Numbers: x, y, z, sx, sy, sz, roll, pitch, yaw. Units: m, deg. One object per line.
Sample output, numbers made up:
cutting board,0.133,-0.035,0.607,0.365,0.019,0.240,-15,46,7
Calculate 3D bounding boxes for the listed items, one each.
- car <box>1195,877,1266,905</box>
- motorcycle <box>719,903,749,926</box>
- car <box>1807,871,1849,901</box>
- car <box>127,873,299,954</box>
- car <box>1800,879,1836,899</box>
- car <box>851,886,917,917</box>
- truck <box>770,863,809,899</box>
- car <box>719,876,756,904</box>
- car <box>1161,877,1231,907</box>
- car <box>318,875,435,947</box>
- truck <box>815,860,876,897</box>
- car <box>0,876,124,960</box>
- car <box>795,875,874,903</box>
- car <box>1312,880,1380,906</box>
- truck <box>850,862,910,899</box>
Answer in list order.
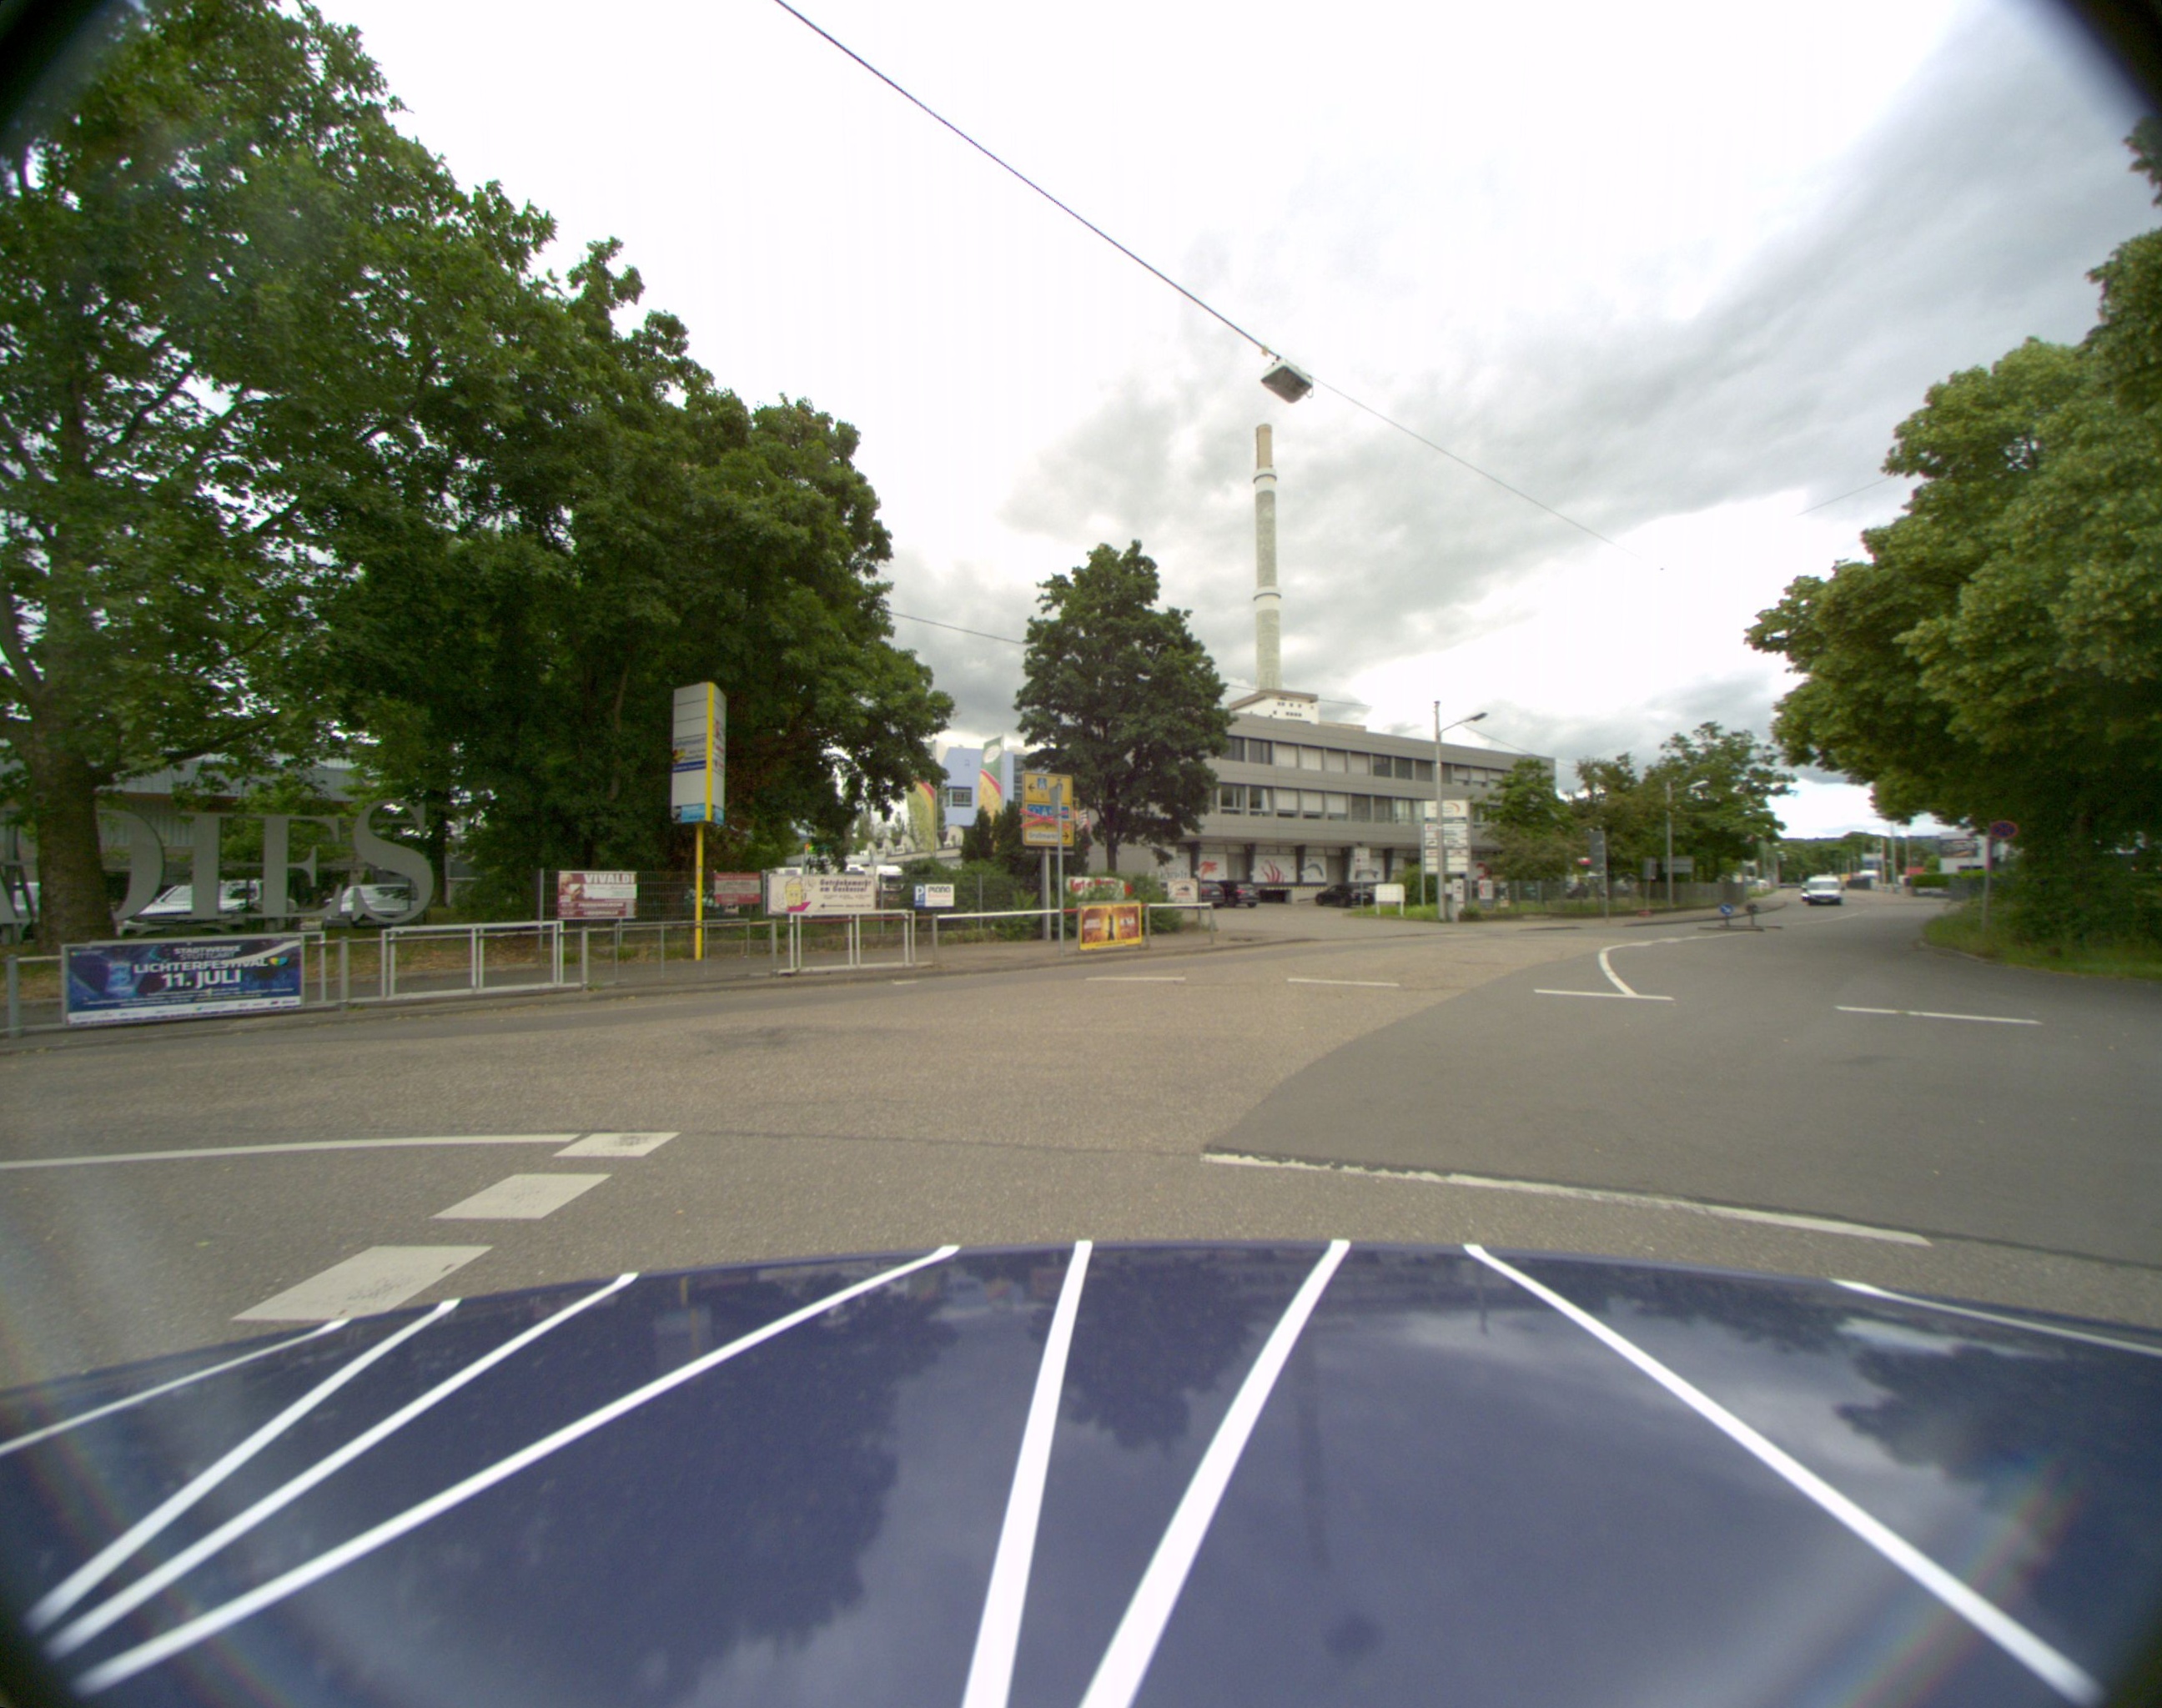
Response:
car,9.166,2.243,46.937,1.842,1.608,4.413,1,-1,-29
motorcycle,-18.745,3.255,41.039,1.018,1.167,2.092,1,-3,-37
car,64.281,2.700,65.361,6.114,2.443,2.383,1,-3,-44
car,-19.702,1.311,17.471,1.595,1.603,4.308,0,-3,-35
car,74.040,3.501,76.335,5.219,1.858,2.383,1,-3,-44
car,-8.648,2.031,33.189,1.713,1.241,3.693,1,-3,-33
truck,-35.548,3.284,92.342,3.005,4.140,9.169,1,-2,-30
car,-31.969,3.311,70.595,2.314,2.464,6.911,1,-3,-31
car,6.786,2.218,45.390,1.842,1.608,4.455,1,-1,-28
car,-17.471,1.380,19.013,1.595,1.603,3.991,0,-3,-35
truck,-27.073,2.860,86.531,2.857,3.909,15.695,1,-3,-31
car,-22.641,1.322,15.881,1.888,1.602,4.516,0,-3,-33
car,-24.281,3.427,75.032,7.166,2.715,2.239,1,-2,-30
car,17.071,2.486,49.203,2.051,1.437,4.824,0,0,-11
truck,-23.768,3.132,88.977,2.878,4.000,15.818,1,-3,-30
